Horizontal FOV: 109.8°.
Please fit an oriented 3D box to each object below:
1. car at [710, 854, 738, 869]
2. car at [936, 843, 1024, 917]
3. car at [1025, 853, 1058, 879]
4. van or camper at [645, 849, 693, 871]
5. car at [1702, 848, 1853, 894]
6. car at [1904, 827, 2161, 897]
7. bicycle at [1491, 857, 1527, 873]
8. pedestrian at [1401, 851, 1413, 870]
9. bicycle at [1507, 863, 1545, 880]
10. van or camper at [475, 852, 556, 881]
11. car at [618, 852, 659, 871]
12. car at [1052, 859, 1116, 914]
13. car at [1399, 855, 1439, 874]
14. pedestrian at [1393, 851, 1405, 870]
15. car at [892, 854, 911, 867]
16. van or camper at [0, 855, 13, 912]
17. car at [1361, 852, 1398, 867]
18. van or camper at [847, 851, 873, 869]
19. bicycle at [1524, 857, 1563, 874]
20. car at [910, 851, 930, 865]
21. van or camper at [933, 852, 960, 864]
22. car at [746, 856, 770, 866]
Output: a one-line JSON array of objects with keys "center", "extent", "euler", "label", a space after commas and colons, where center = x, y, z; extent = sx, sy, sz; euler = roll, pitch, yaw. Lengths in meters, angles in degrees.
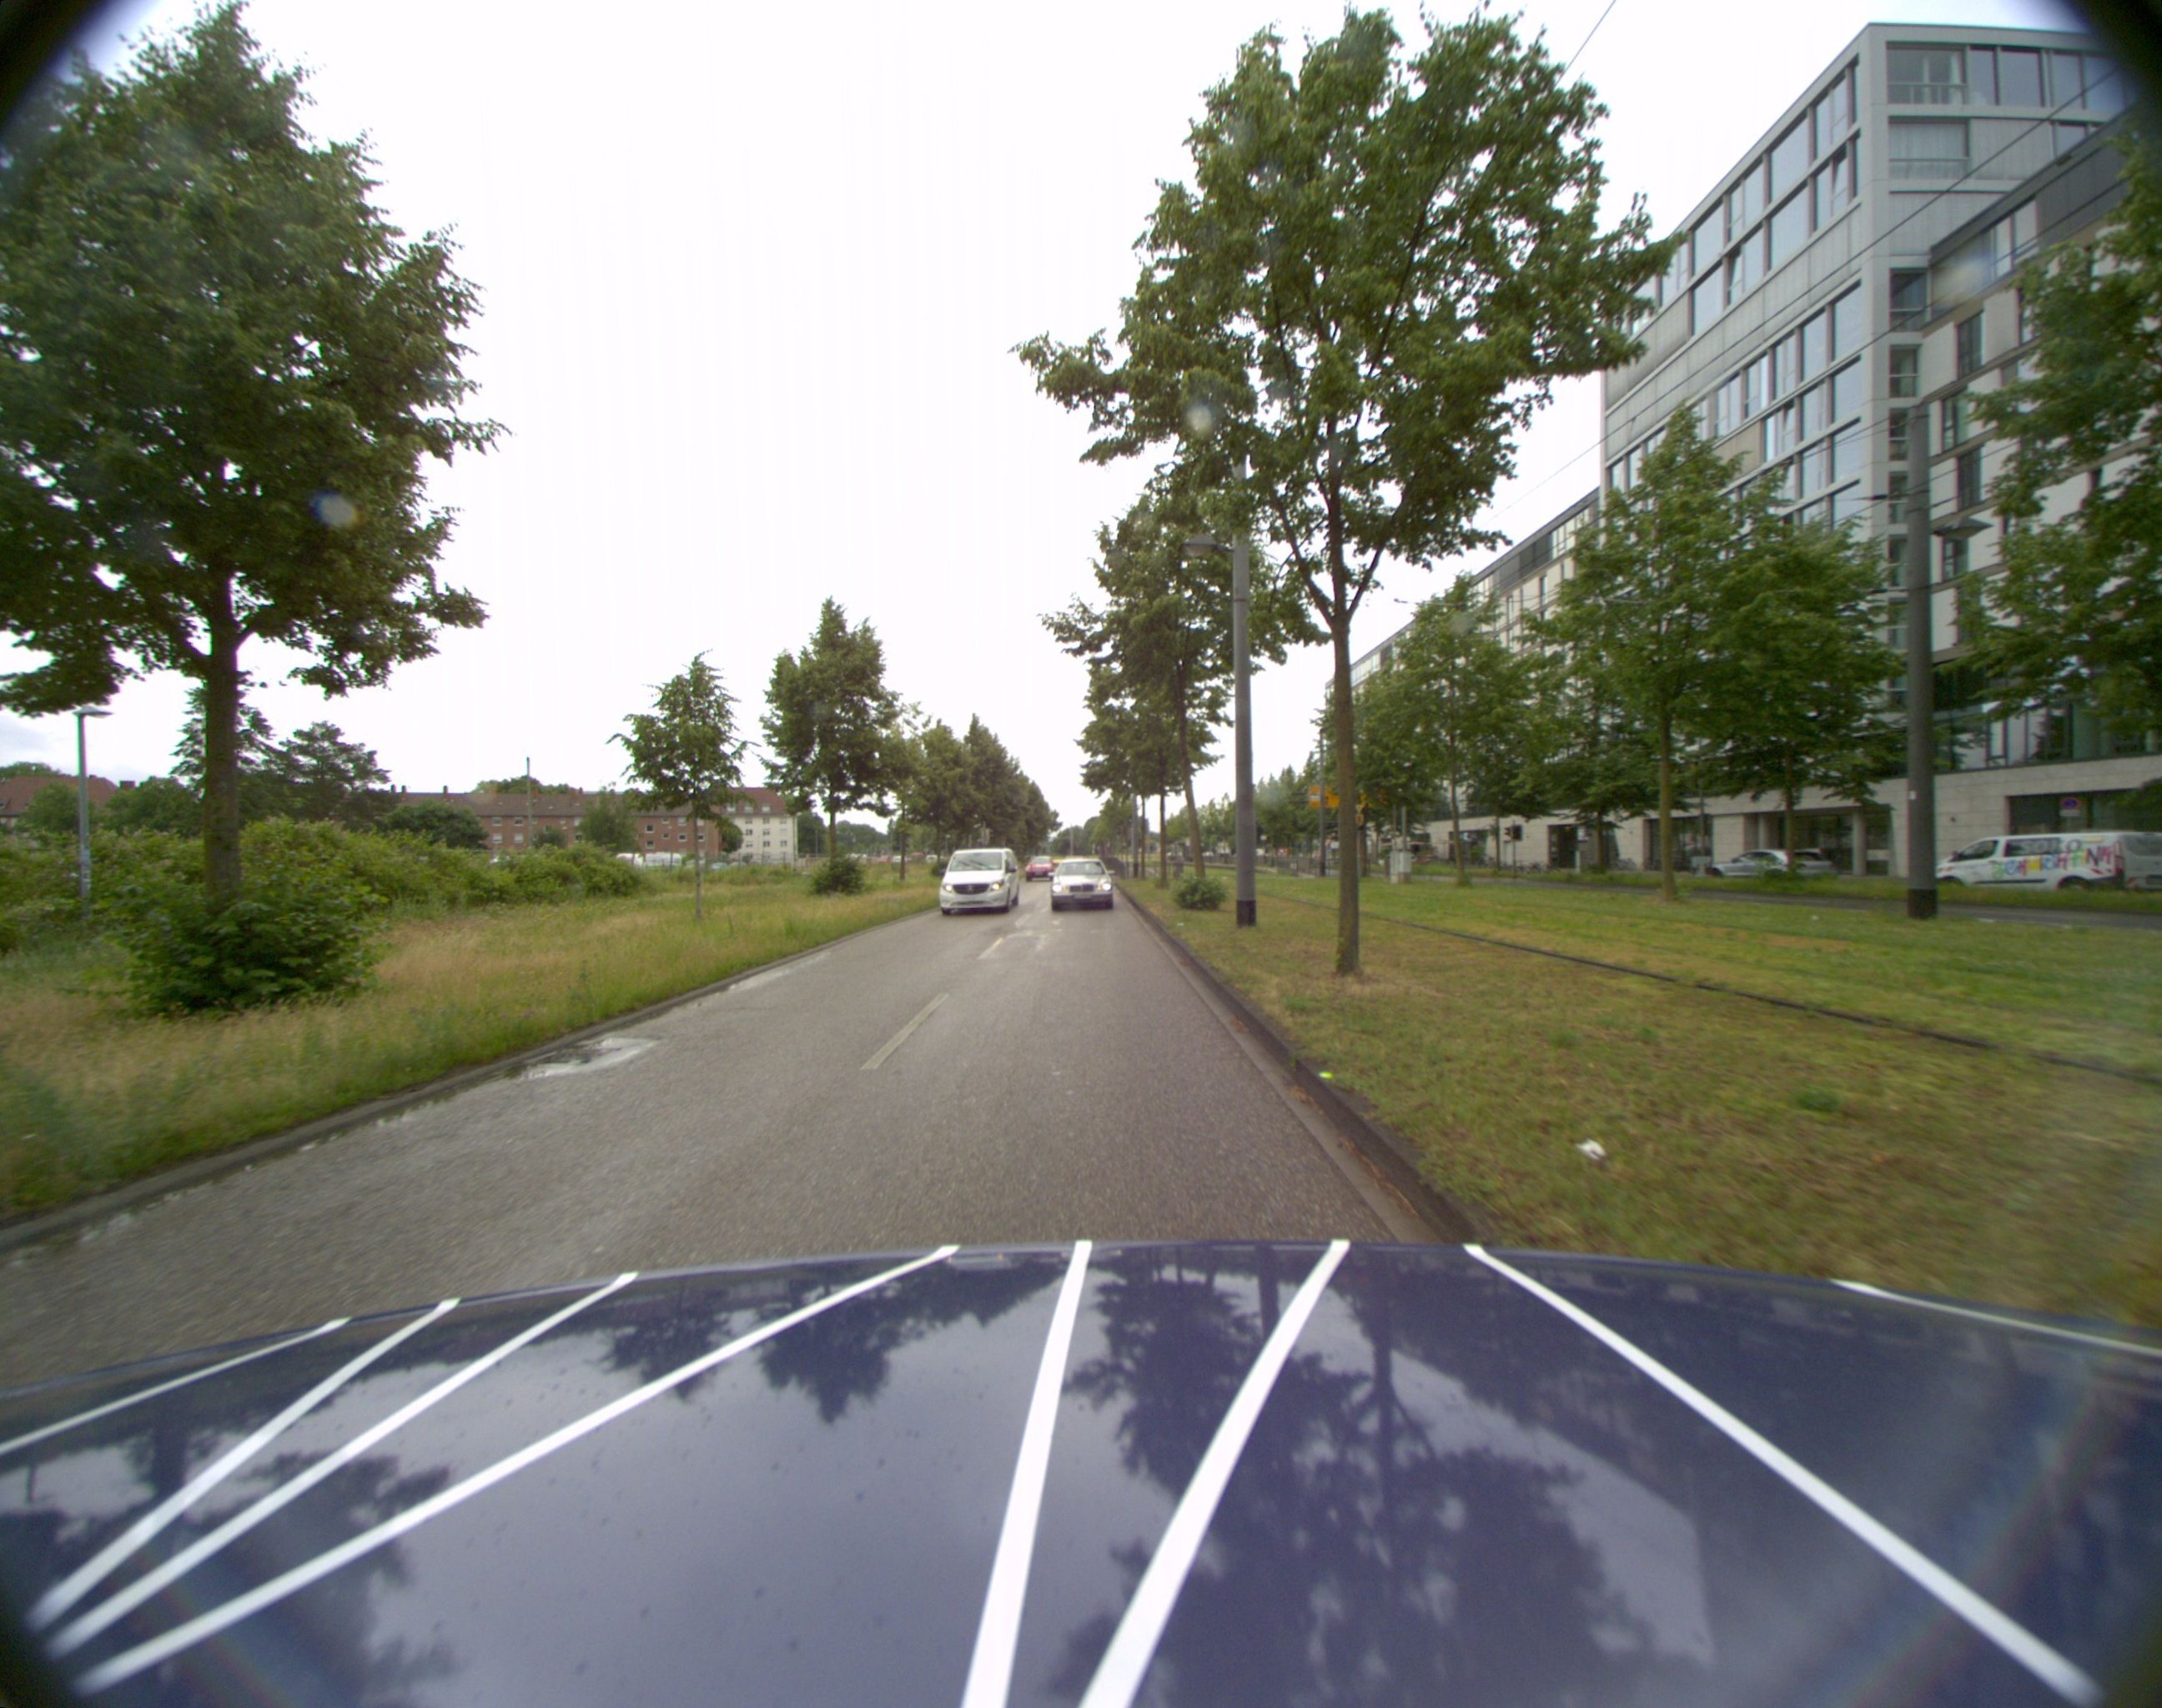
[{"center": [-54.722, 1.166, 116.572], "extent": [2.278, 2.207, 4.758], "euler": [-2, 0, -3], "label": "car"}, {"center": [-2.929, 0.690, 23.221], "extent": [1.972, 1.968, 5.091], "euler": [-1, 1, 0], "label": "car"}, {"center": [-2.556, 0.734, 50.441], "extent": [1.799, 1.603, 4.246], "euler": [-2, 0, 2], "label": "car"}, {"center": [-46.784, 0.622, 86.506], "extent": [2.208, 2.294, 6.147], "euler": [-3, 0, -2], "label": "van or camper"}, {"center": [28.559, 0.656, 31.391], "extent": [2.150, 1.702, 4.463], "euler": [-1, 0, 0], "label": "car"}, {"center": [28.595, 0.206, 22.892], "extent": [1.999, 1.841, 5.164], "euler": [-1, 0, 0], "label": "car"}, {"center": [28.991, 0.752, 51.480], "extent": [1.983, 1.028, 0.696], "euler": [-1, 1, 2], "label": "bicycle"}, {"center": [29.700, 0.594, 69.263], "extent": [0.712, 1.681, 0.793], "euler": [-1, 0, 3], "label": "pedestrian"}, {"center": [28.543, 1.123, 48.770], "extent": [1.983, 1.028, 0.696], "euler": [-1, 1, 2], "label": "bicycle"}, {"center": [-52.164, 1.109, 70.365], "extent": [2.783, 2.521, 6.418], "euler": [-2, 0, -2], "label": "van or camper"}, {"center": [-53.435, 0.905, 91.824], "extent": [2.278, 2.207, 4.758], "euler": [-2, 0, -3], "label": "car"}, {"center": [0.087, 0.923, 23.366], "extent": [1.738, 1.451, 4.607], "euler": [-2, 0, 0], "label": "car"}, {"center": [32.551, 1.004, 73.257], "extent": [1.998, 1.684, 4.192], "euler": [-1, 0, 0], "label": "car"}, {"center": [28.916, 0.574, 69.106], "extent": [0.712, 1.681, 0.793], "euler": [-1, 0, 3], "label": "pedestrian"}, {"center": [-32.588, 1.166, 137.985], "extent": [1.997, 2.297, 4.003], "euler": [-2, 0, 9], "label": "car"}, {"center": [-51.236, 1.391, 32.438], "extent": [2.314, 2.673, 6.395], "euler": [-1, 0, -2], "label": "van or camper"}, {"center": [28.309, 0.486, 72.125], "extent": [1.998, 1.281, 4.070], "euler": [-1, 1, 2], "label": "car"}, {"center": [-41.688, 1.102, 143.661], "extent": [2.343, 3.017, 5.514], "euler": [-3, 0, 11], "label": "van or camper"}, {"center": [28.516, 0.711, 46.843], "extent": [1.983, 1.028, 0.696], "euler": [-1, 1, 2], "label": "bicycle"}, {"center": [-29.124, 0.689, 137.350], "extent": [1.996, 2.297, 4.004], "euler": [-2, 0, 13], "label": "car"}, {"center": [-23.040, 0.721, 130.577], "extent": [4.334, 2.002, 1.860], "euler": [-2, 0, -6], "label": "van or camper"}, {"center": [-47.771, 1.047, 112.500], "extent": [2.000, 1.379, 4.565], "euler": [-3, 0, -7], "label": "car"}]
